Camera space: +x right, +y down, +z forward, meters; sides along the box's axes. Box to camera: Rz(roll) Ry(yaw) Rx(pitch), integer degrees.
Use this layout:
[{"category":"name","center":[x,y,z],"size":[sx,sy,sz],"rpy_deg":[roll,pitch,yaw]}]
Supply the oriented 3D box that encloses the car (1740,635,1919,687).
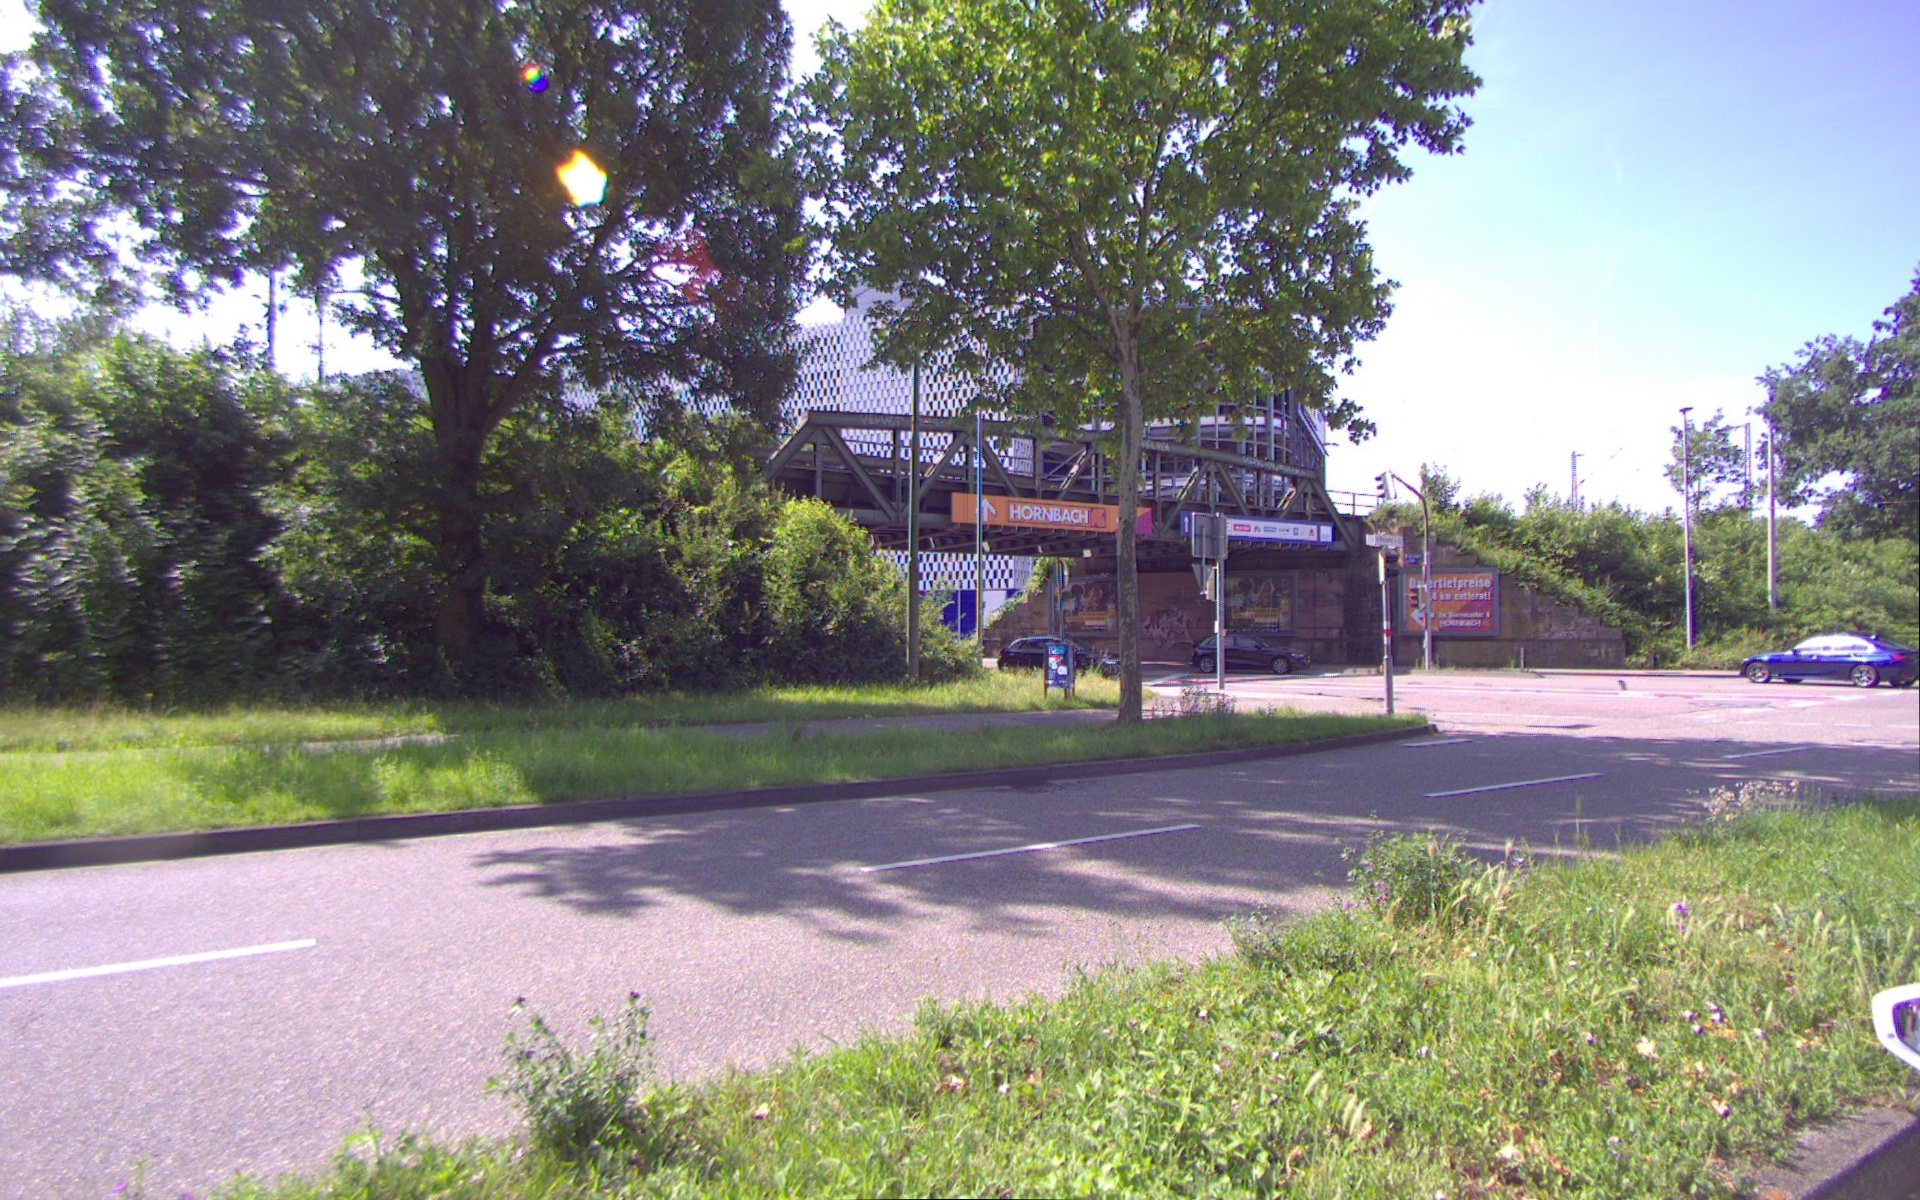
[{"category":"car","center":[25.908,1.742,29.673],"size":[1.764,1.415,4.310],"rpy_deg":[1,-2,-17]}]

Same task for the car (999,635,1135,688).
[{"category":"car","center":[3.386,1.903,31.772],"size":[3.869,1.500,1.822],"rpy_deg":[0,-1,25]}]

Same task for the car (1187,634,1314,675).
[{"category":"car","center":[10.625,1.968,36.792],"size":[4.253,1.413,1.770],"rpy_deg":[-1,-2,24]}]
